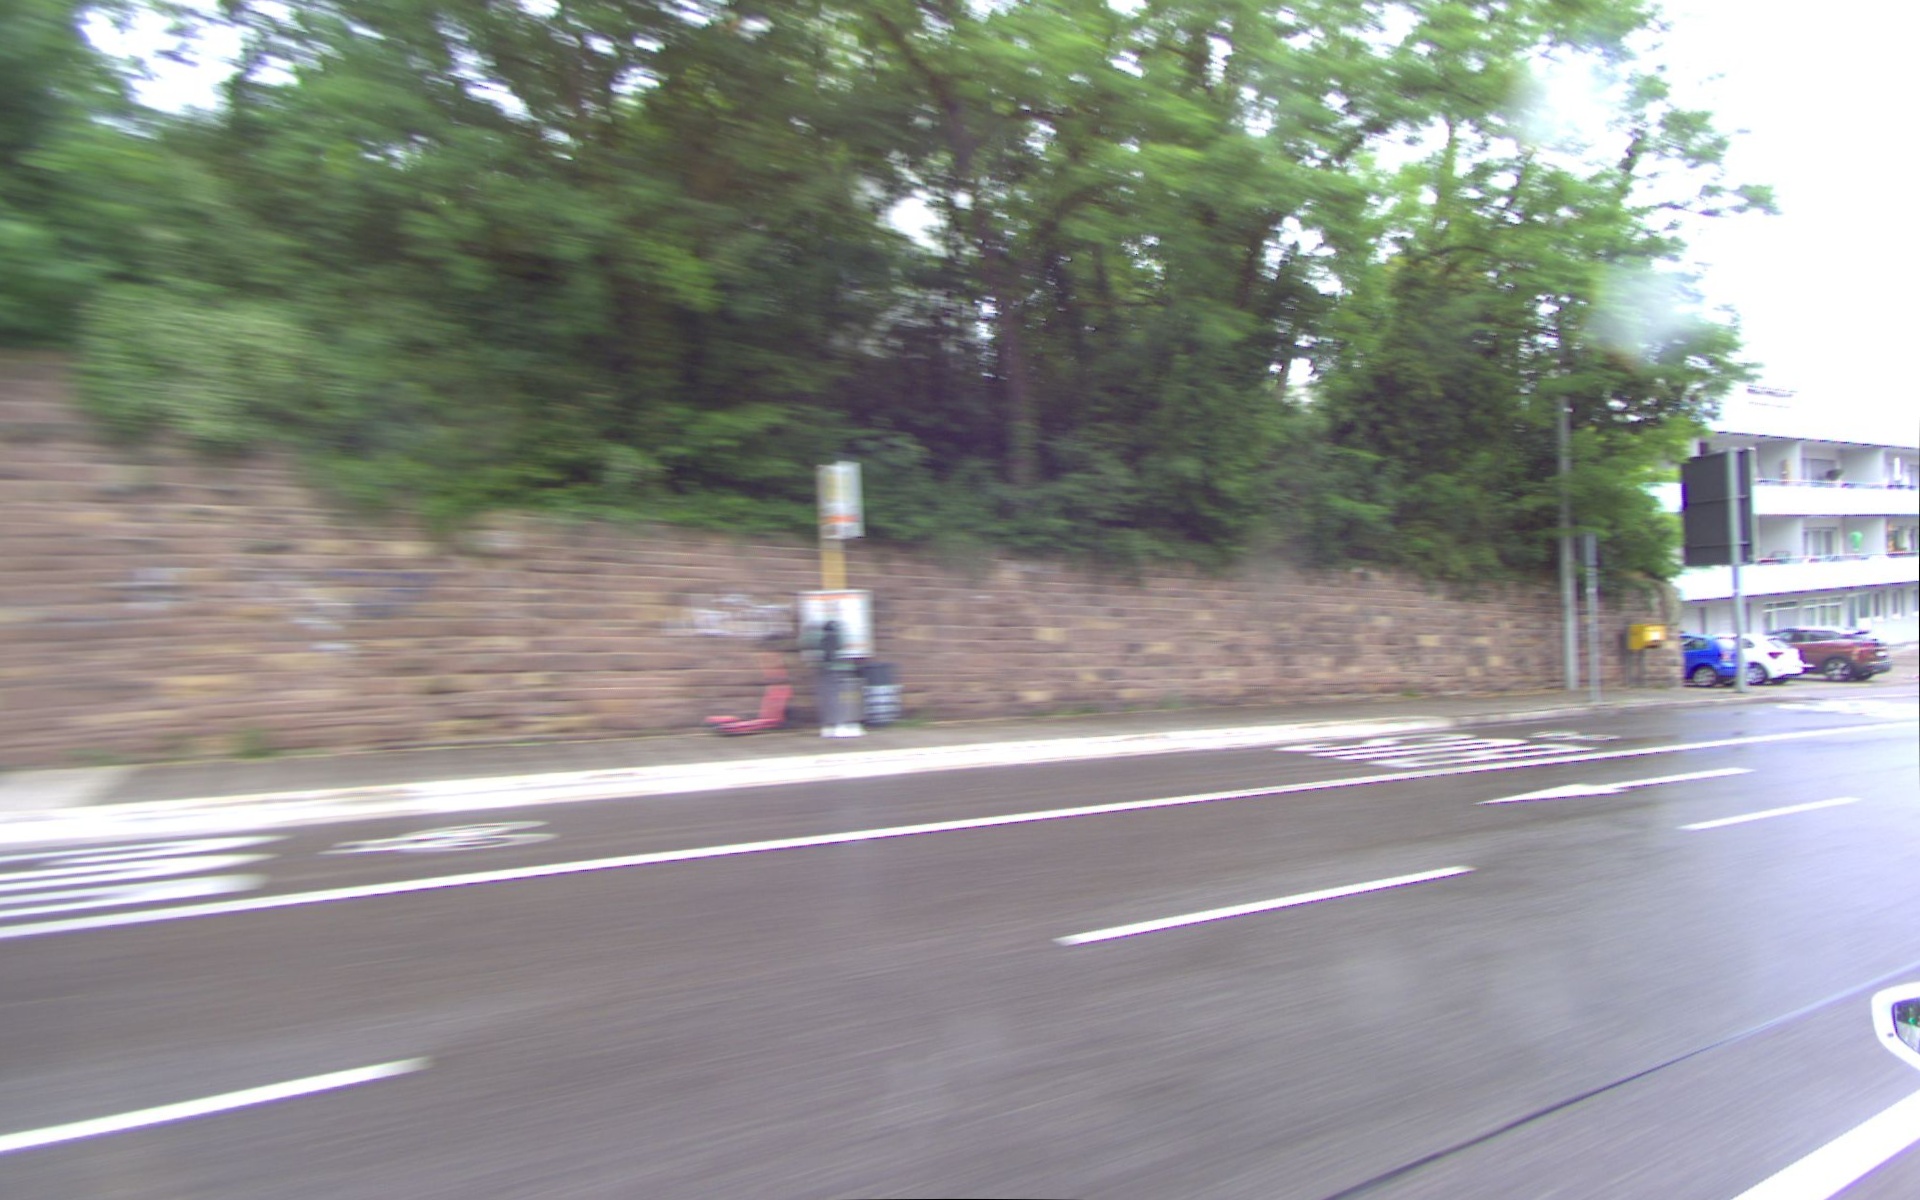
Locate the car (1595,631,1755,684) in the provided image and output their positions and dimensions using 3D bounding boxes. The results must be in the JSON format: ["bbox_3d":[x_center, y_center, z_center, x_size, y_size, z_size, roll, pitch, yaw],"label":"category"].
[{"bbox_3d":[20.523,1.602,28.942,1.620,1.408,3.411,1,-2,-33],"label":"car"}]

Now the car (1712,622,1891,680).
[{"bbox_3d":[25.933,1.527,31.095,1.696,1.570,3.902,1,0,-31],"label":"car"}]

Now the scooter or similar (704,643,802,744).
[{"bbox_3d":[-2.587,1.156,12.585,1.112,1.197,0.372,2,0,-29],"label":"scooter or similar"}]

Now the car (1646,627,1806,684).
[{"bbox_3d":[22.792,1.605,30.018,1.687,1.464,3.416,1,0,-28],"label":"car"}]

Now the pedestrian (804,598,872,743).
[{"bbox_3d":[-1.534,0.860,12.609,0.616,1.755,0.584,2,0,-31],"label":"pedestrian"}]
